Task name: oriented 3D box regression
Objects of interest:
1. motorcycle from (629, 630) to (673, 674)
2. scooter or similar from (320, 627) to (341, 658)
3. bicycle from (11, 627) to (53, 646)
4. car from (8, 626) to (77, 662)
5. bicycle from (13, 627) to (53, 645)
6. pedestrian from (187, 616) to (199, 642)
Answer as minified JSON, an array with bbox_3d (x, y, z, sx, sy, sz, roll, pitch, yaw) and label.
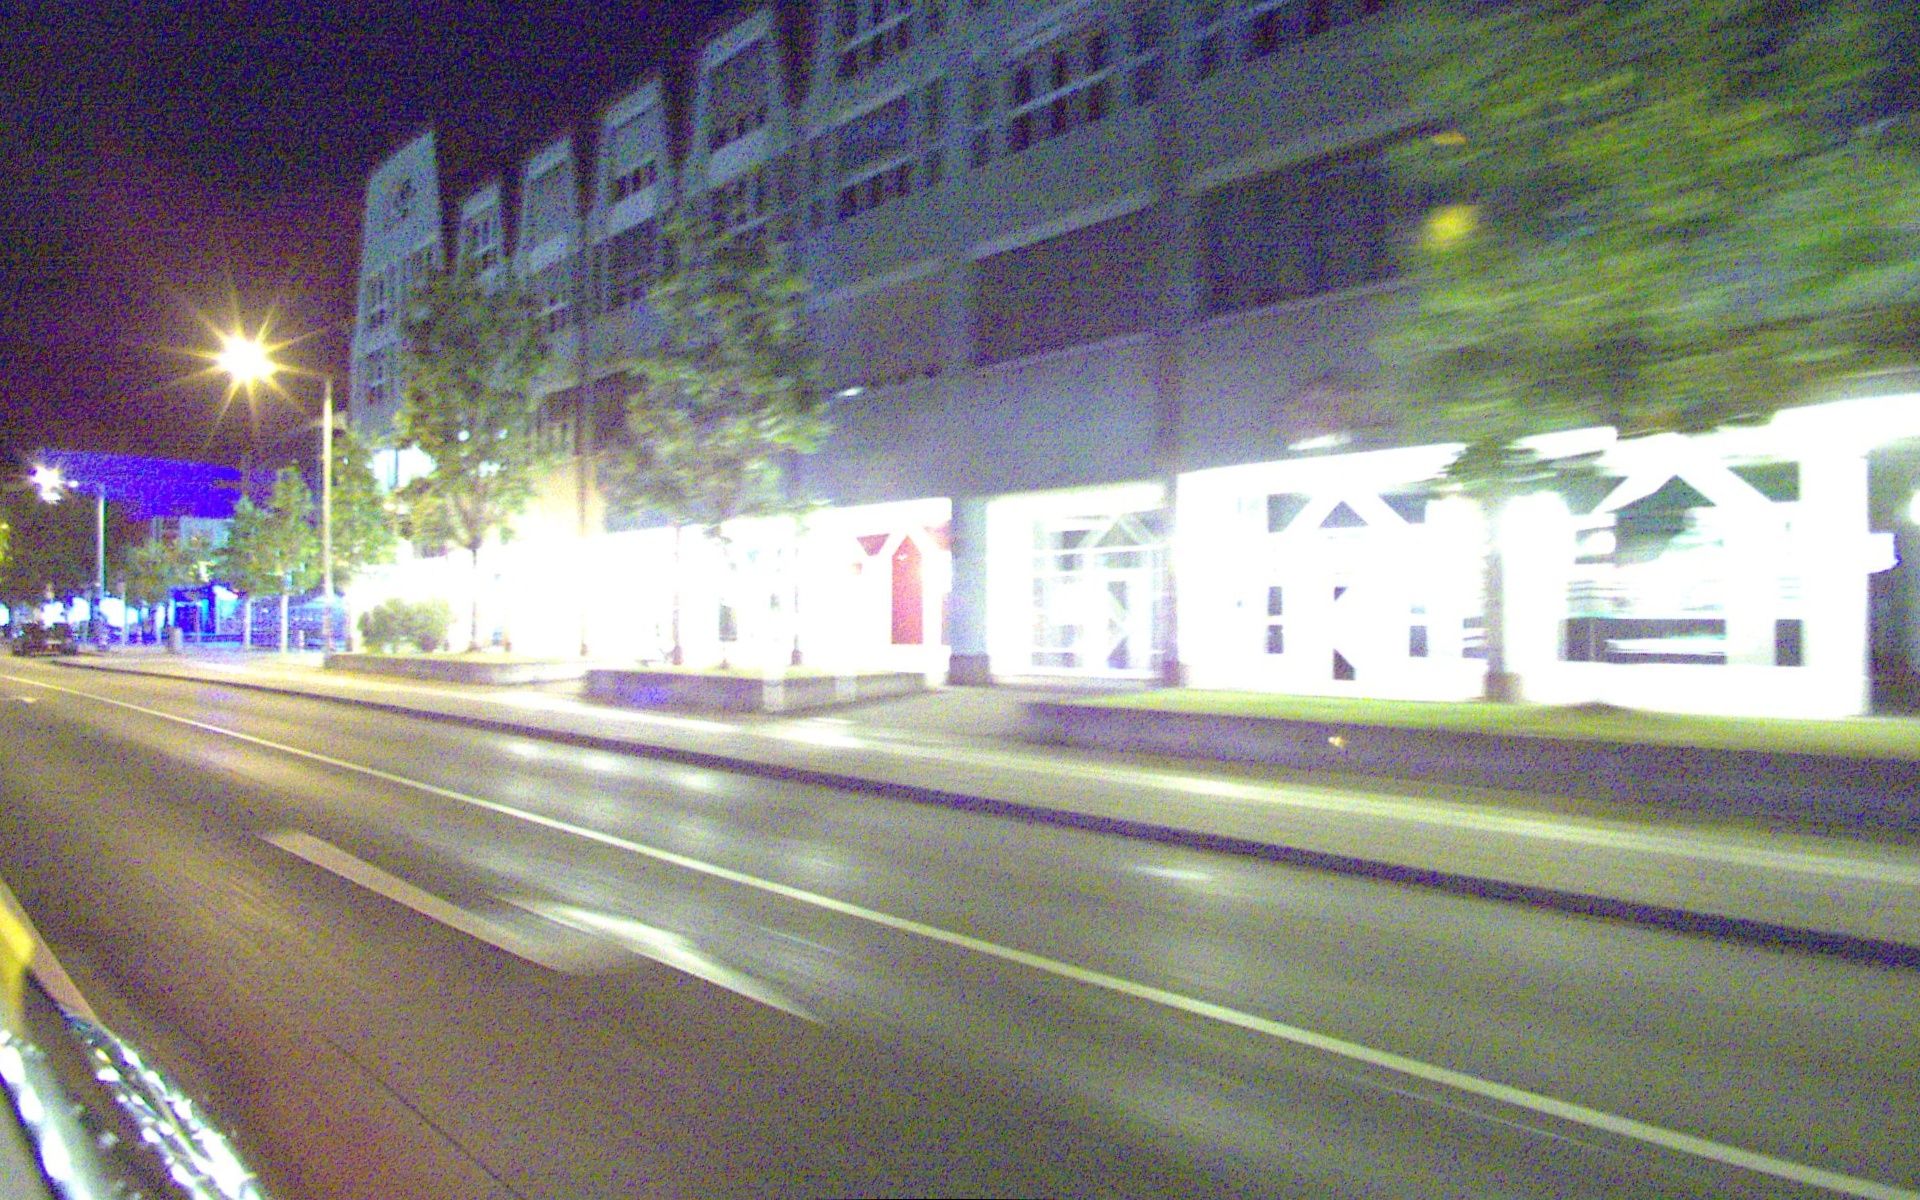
[{"bbox_3d":[-7.587,1.259,24.814,0.472,1.028,1.678,1,-2,-38],"label":"motorcycle"},{"bbox_3d":[-25.757,1.726,41.388,1.344,1.230,0.383,-1,-2,44],"label":"scooter or similar"},{"bbox_3d":[-57.379,2.254,62.566,0.532,1.175,1.831,-1,-2,41],"label":"bicycle"},{"bbox_3d":[-38.696,1.804,42.664,4.494,1.424,1.723,-1,-1,42],"label":"car"},{"bbox_3d":[-58.760,2.288,64.157,0.532,1.043,1.832,-1,-1,41],"label":"bicycle"},{"bbox_3d":[-50.107,1.894,66.087,0.632,1.649,0.473,-1,-2,42],"label":"pedestrian"}]
